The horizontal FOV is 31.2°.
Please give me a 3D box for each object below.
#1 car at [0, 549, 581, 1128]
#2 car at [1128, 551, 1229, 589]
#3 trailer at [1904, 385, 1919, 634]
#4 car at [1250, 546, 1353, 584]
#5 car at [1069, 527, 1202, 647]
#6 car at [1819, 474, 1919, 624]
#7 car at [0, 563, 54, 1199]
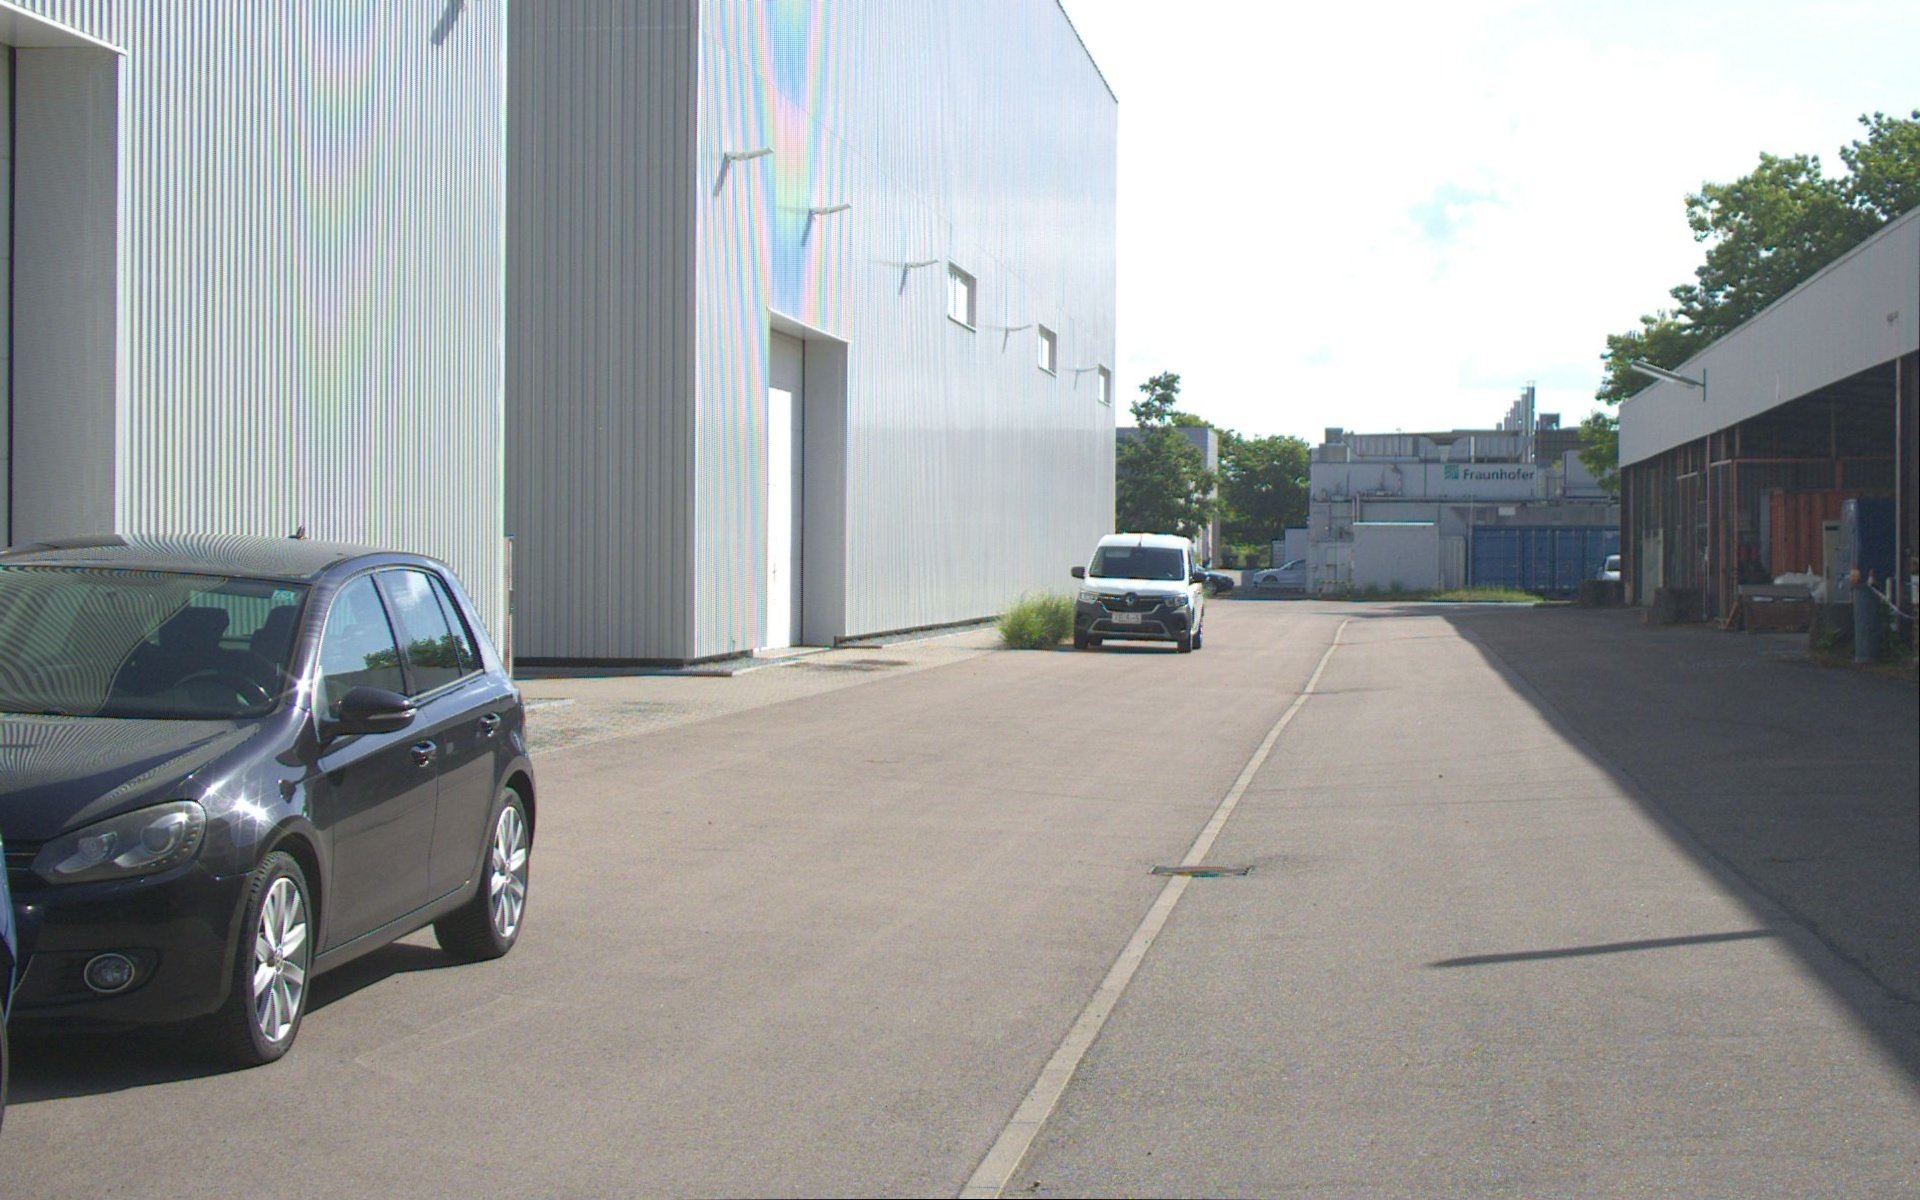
[{"bbox_3d":[-2.516,0.601,11.055,1.651,1.441,3.877,3,1,7],"label":"car"},{"bbox_3d":[8.631,-1.182,135.446,3.885,1.457,1.623,0,1,6],"label":"car"},{"bbox_3d":[16.133,-1.258,45.901,6.390,3.359,2.824,-1,1,6],"label":"trailer"},{"bbox_3d":[13.316,-1.365,133.803,3.886,1.457,1.622,0,1,10],"label":"car"},{"bbox_3d":[2.775,-0.222,53.498,1.908,1.788,3.999,0,1,5],"label":"car"},{"bbox_3d":[16.196,-0.865,57.128,3.506,2.433,1.999,-1,1,8],"label":"car"},{"bbox_3d":[-3.066,0.650,6.049,1.620,1.442,3.764,1,1,6],"label":"car"}]
